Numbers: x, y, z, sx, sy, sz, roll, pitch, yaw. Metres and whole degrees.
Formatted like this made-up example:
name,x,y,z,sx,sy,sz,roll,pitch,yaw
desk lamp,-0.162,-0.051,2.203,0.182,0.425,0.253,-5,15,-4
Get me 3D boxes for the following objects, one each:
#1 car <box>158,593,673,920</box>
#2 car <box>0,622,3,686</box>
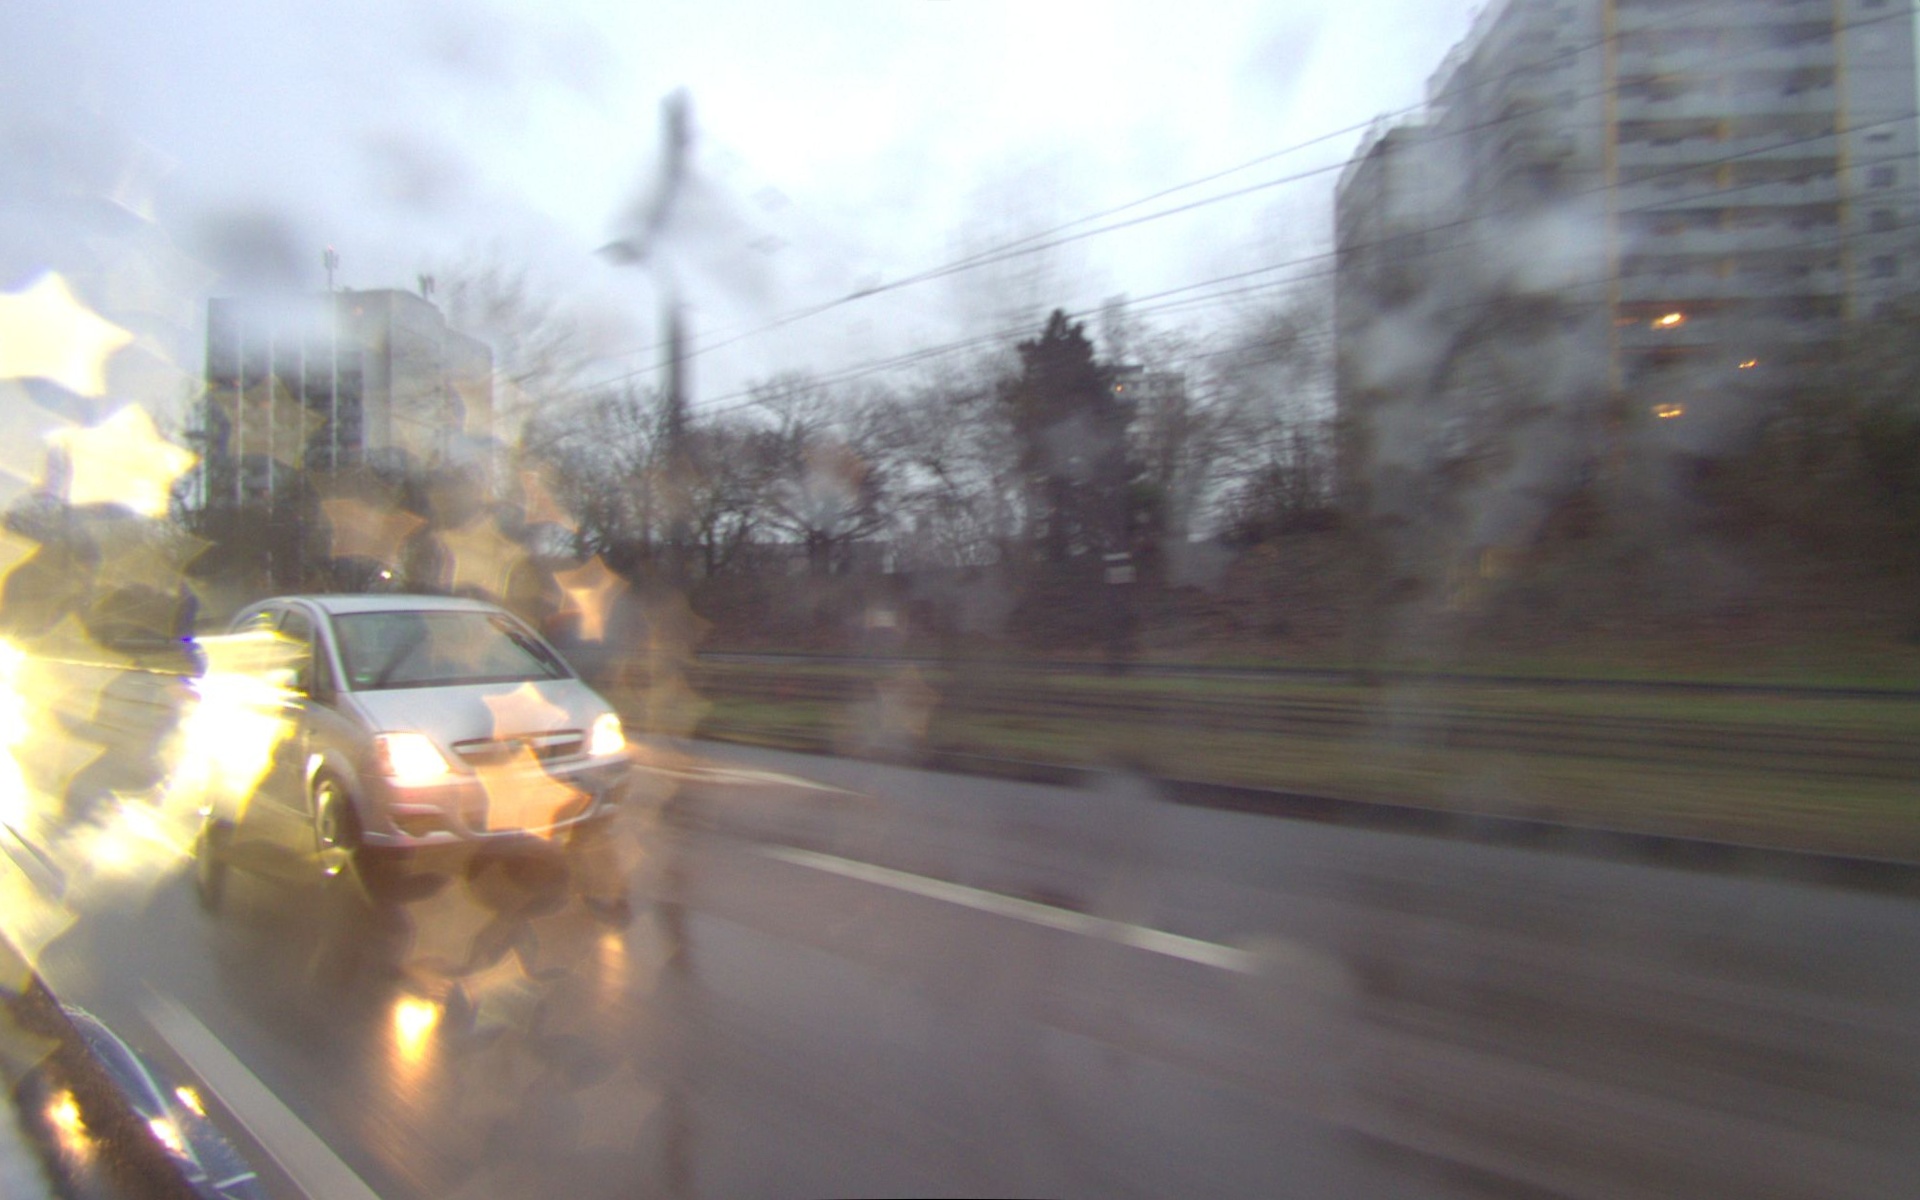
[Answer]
name,x,y,z,sx,sy,sz,roll,pitch,yaw
car,-3.866,0.783,6.839,4.187,1.551,1.672,-2,-1,41
car,-26.301,1.388,26.025,4.120,1.612,1.928,-1,-2,39
